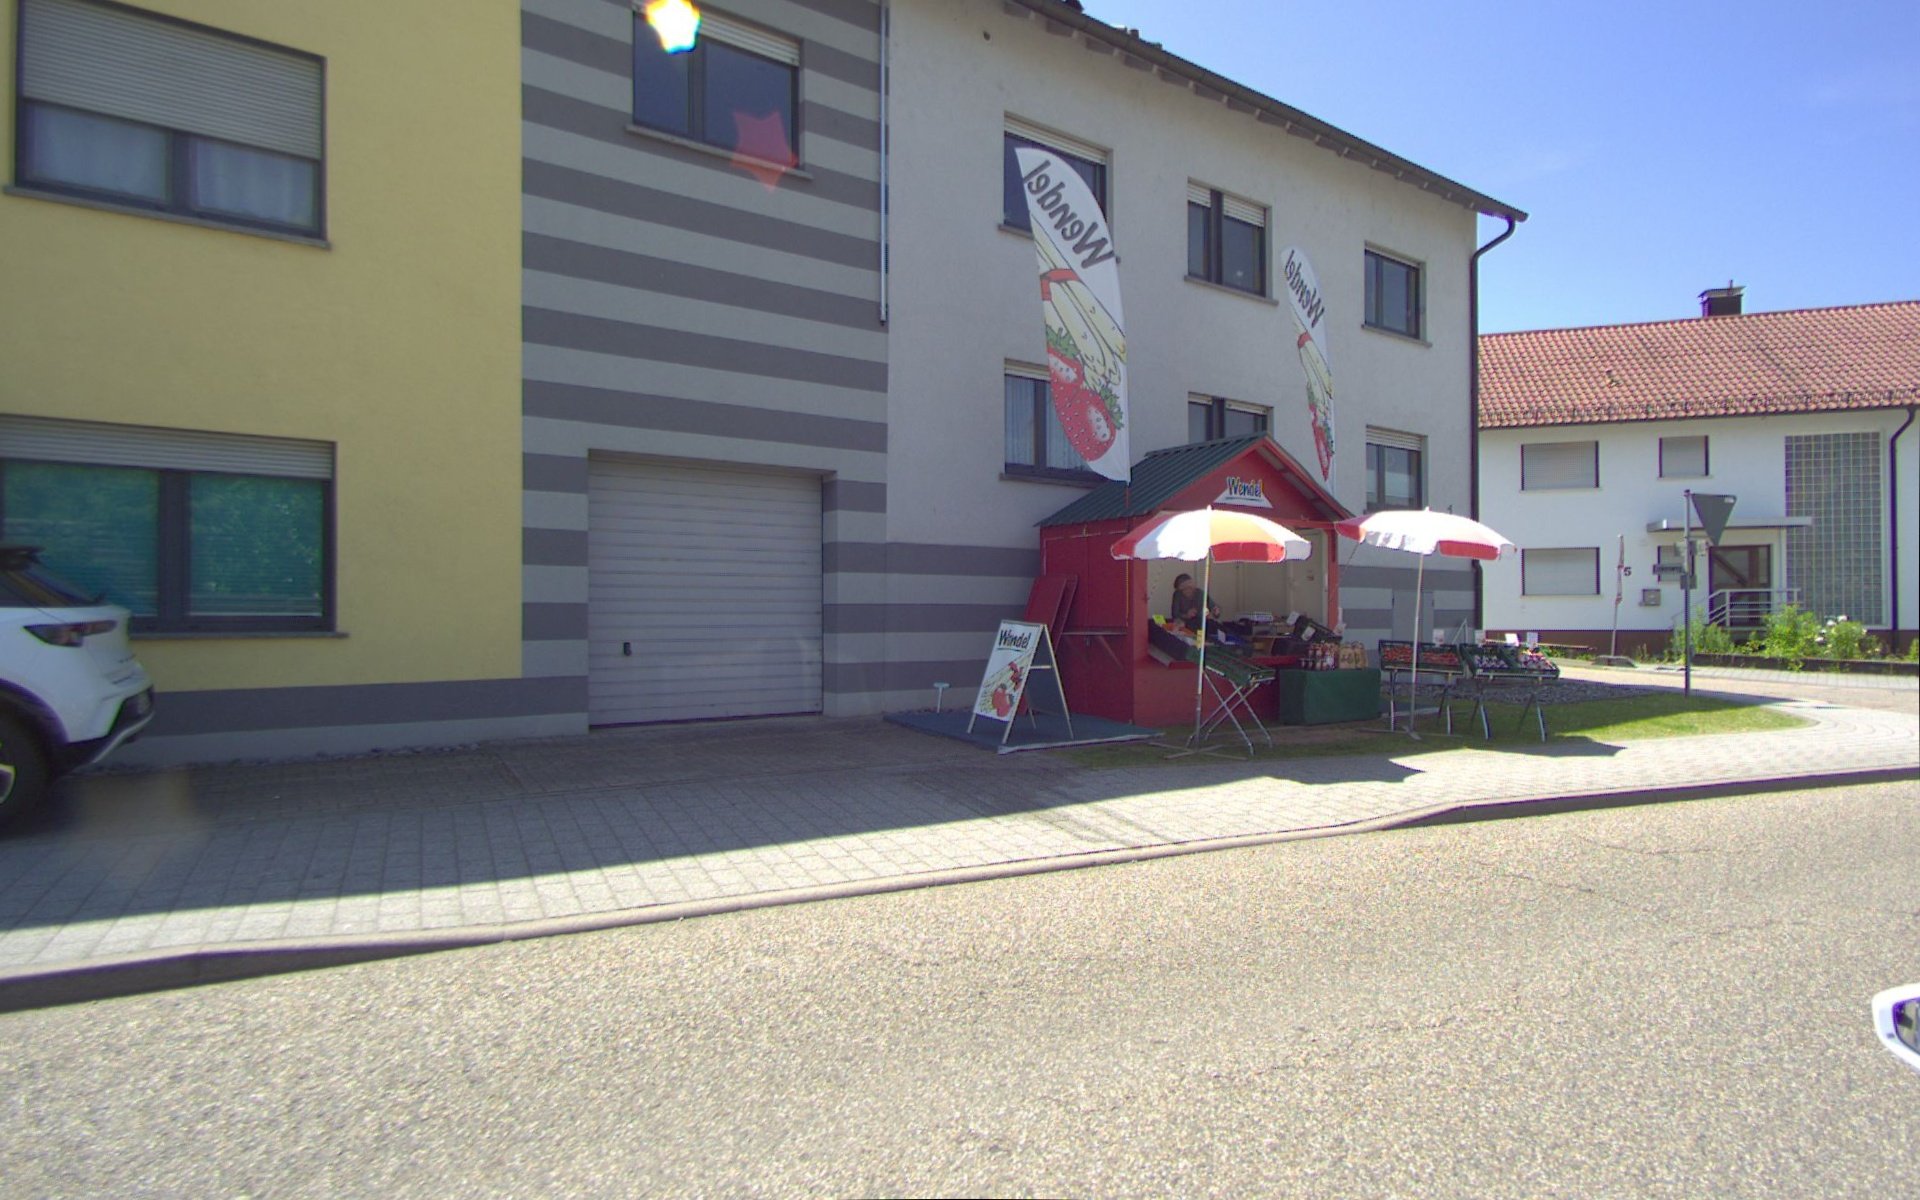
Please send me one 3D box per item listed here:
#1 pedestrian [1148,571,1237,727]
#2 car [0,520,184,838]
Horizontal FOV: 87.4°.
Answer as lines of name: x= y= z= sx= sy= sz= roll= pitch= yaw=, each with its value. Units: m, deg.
pedestrian: x=2.473 y=0.515 z=10.727 sx=0.793 sy=1.609 sz=0.613 roll=0 pitch=-1 yaw=-1
car: x=-6.457 y=0.370 z=4.839 sx=4.144 sy=1.572 sz=1.720 roll=1 pitch=-1 yaw=-34
